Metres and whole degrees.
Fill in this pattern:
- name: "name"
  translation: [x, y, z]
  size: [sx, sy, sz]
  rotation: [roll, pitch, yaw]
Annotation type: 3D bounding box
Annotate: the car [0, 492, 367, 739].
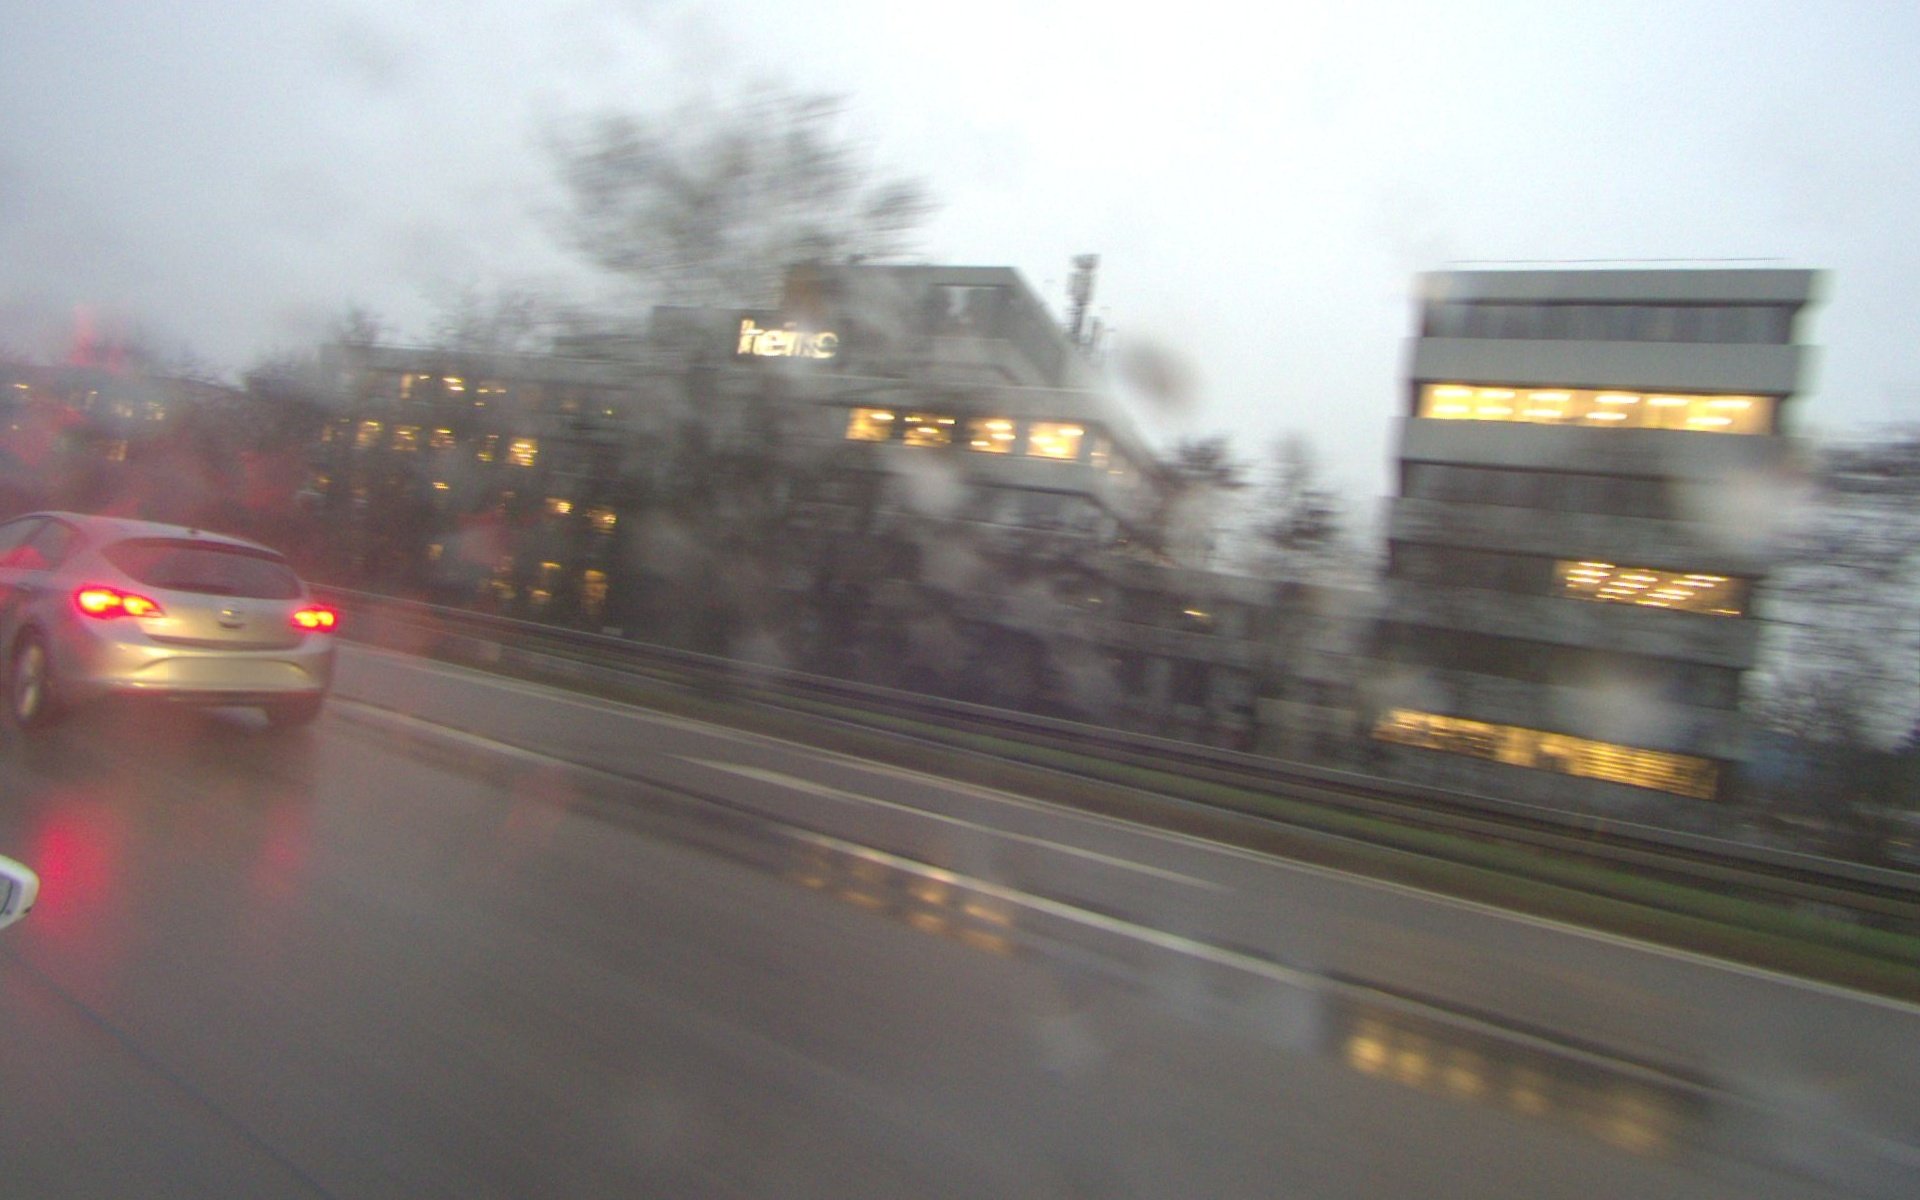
- name: "car"
  translation: [-7.052, 0.013, 8.229]
  size: [4.190, 1.519, 1.854]
  rotation: [7, -2, 30]
